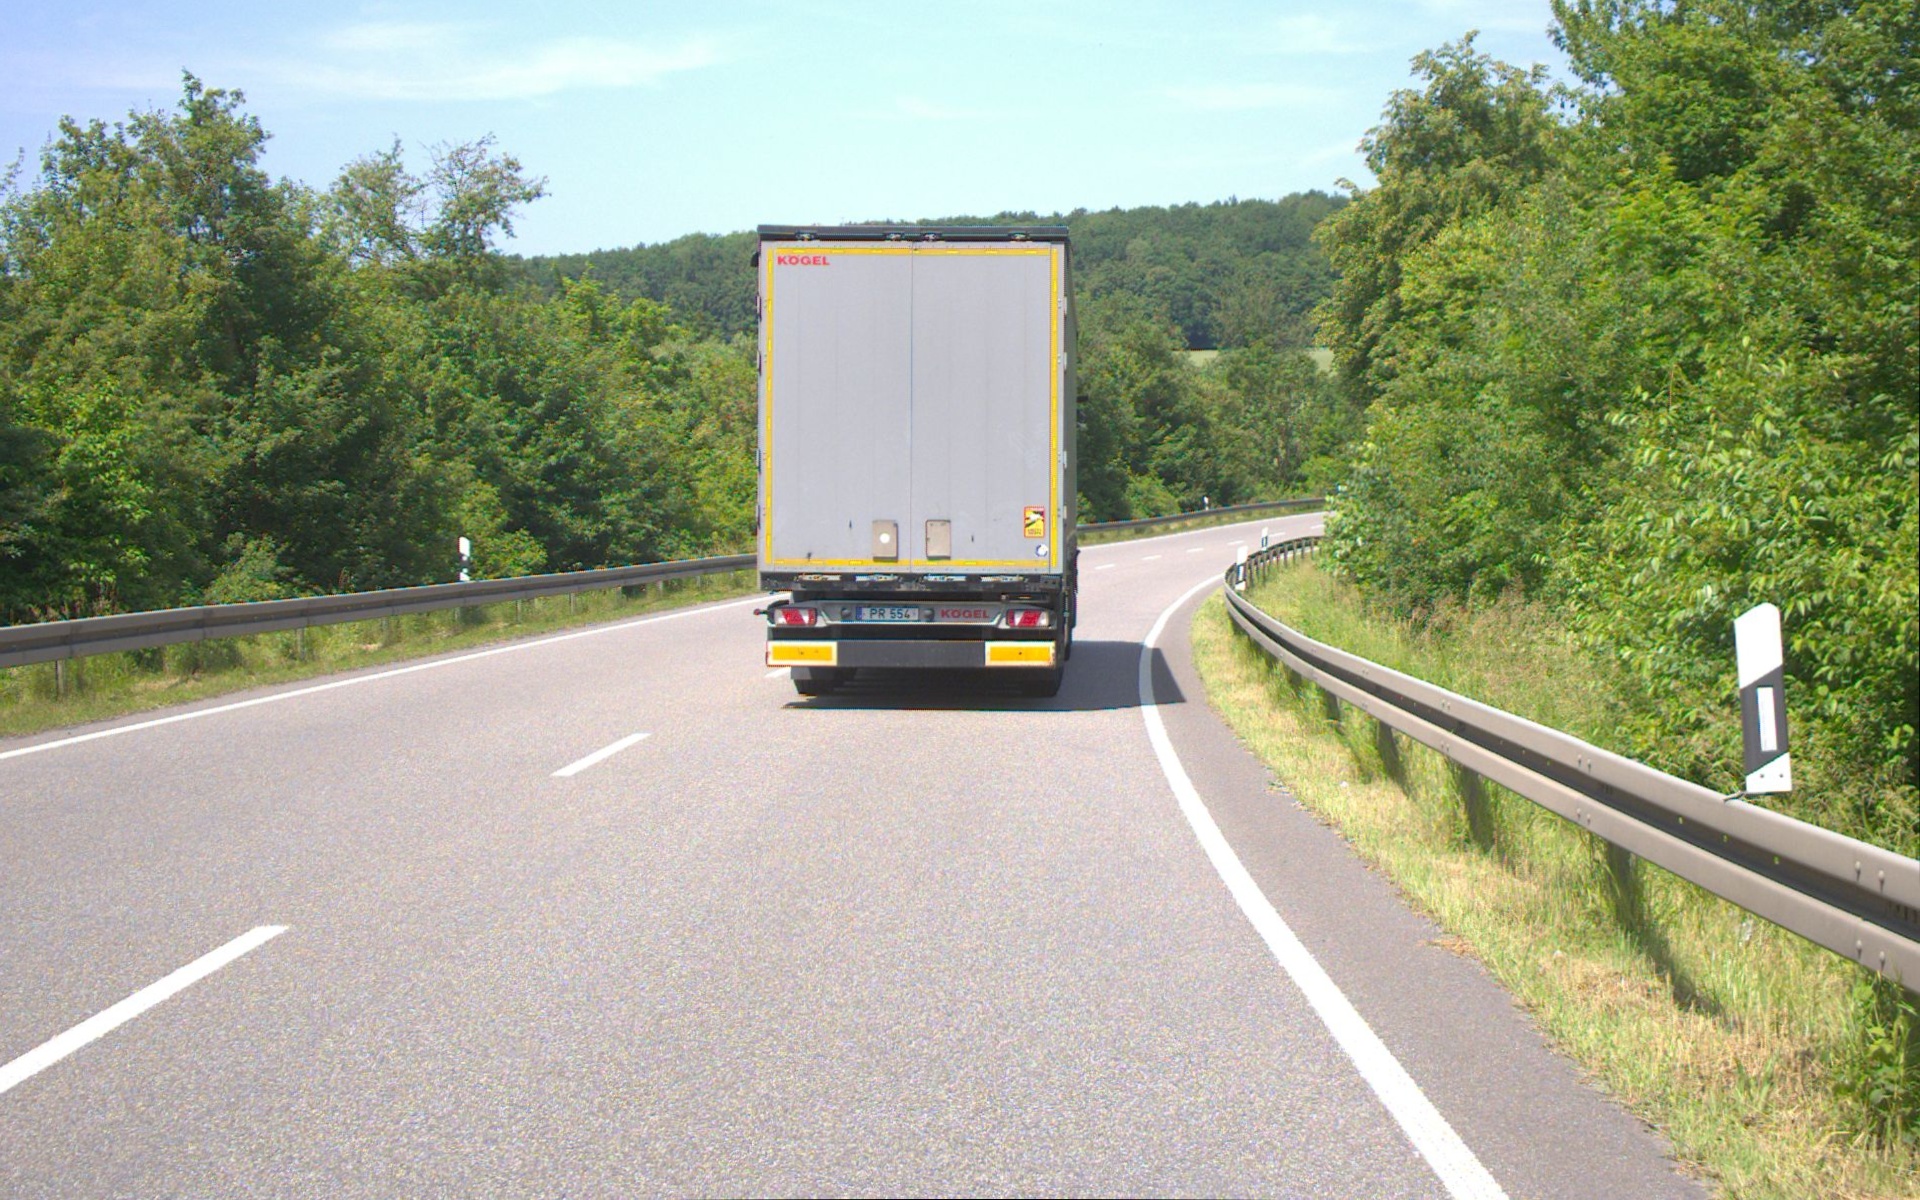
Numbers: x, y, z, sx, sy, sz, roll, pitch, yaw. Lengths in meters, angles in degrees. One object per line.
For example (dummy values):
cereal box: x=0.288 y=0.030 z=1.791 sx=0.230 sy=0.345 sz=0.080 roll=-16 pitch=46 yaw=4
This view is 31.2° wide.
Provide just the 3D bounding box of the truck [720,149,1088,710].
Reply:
truck: x=-0.244 y=-1.511 z=33.760 sx=2.817 sy=4.517 sz=11.767 roll=1 pitch=1 yaw=3
